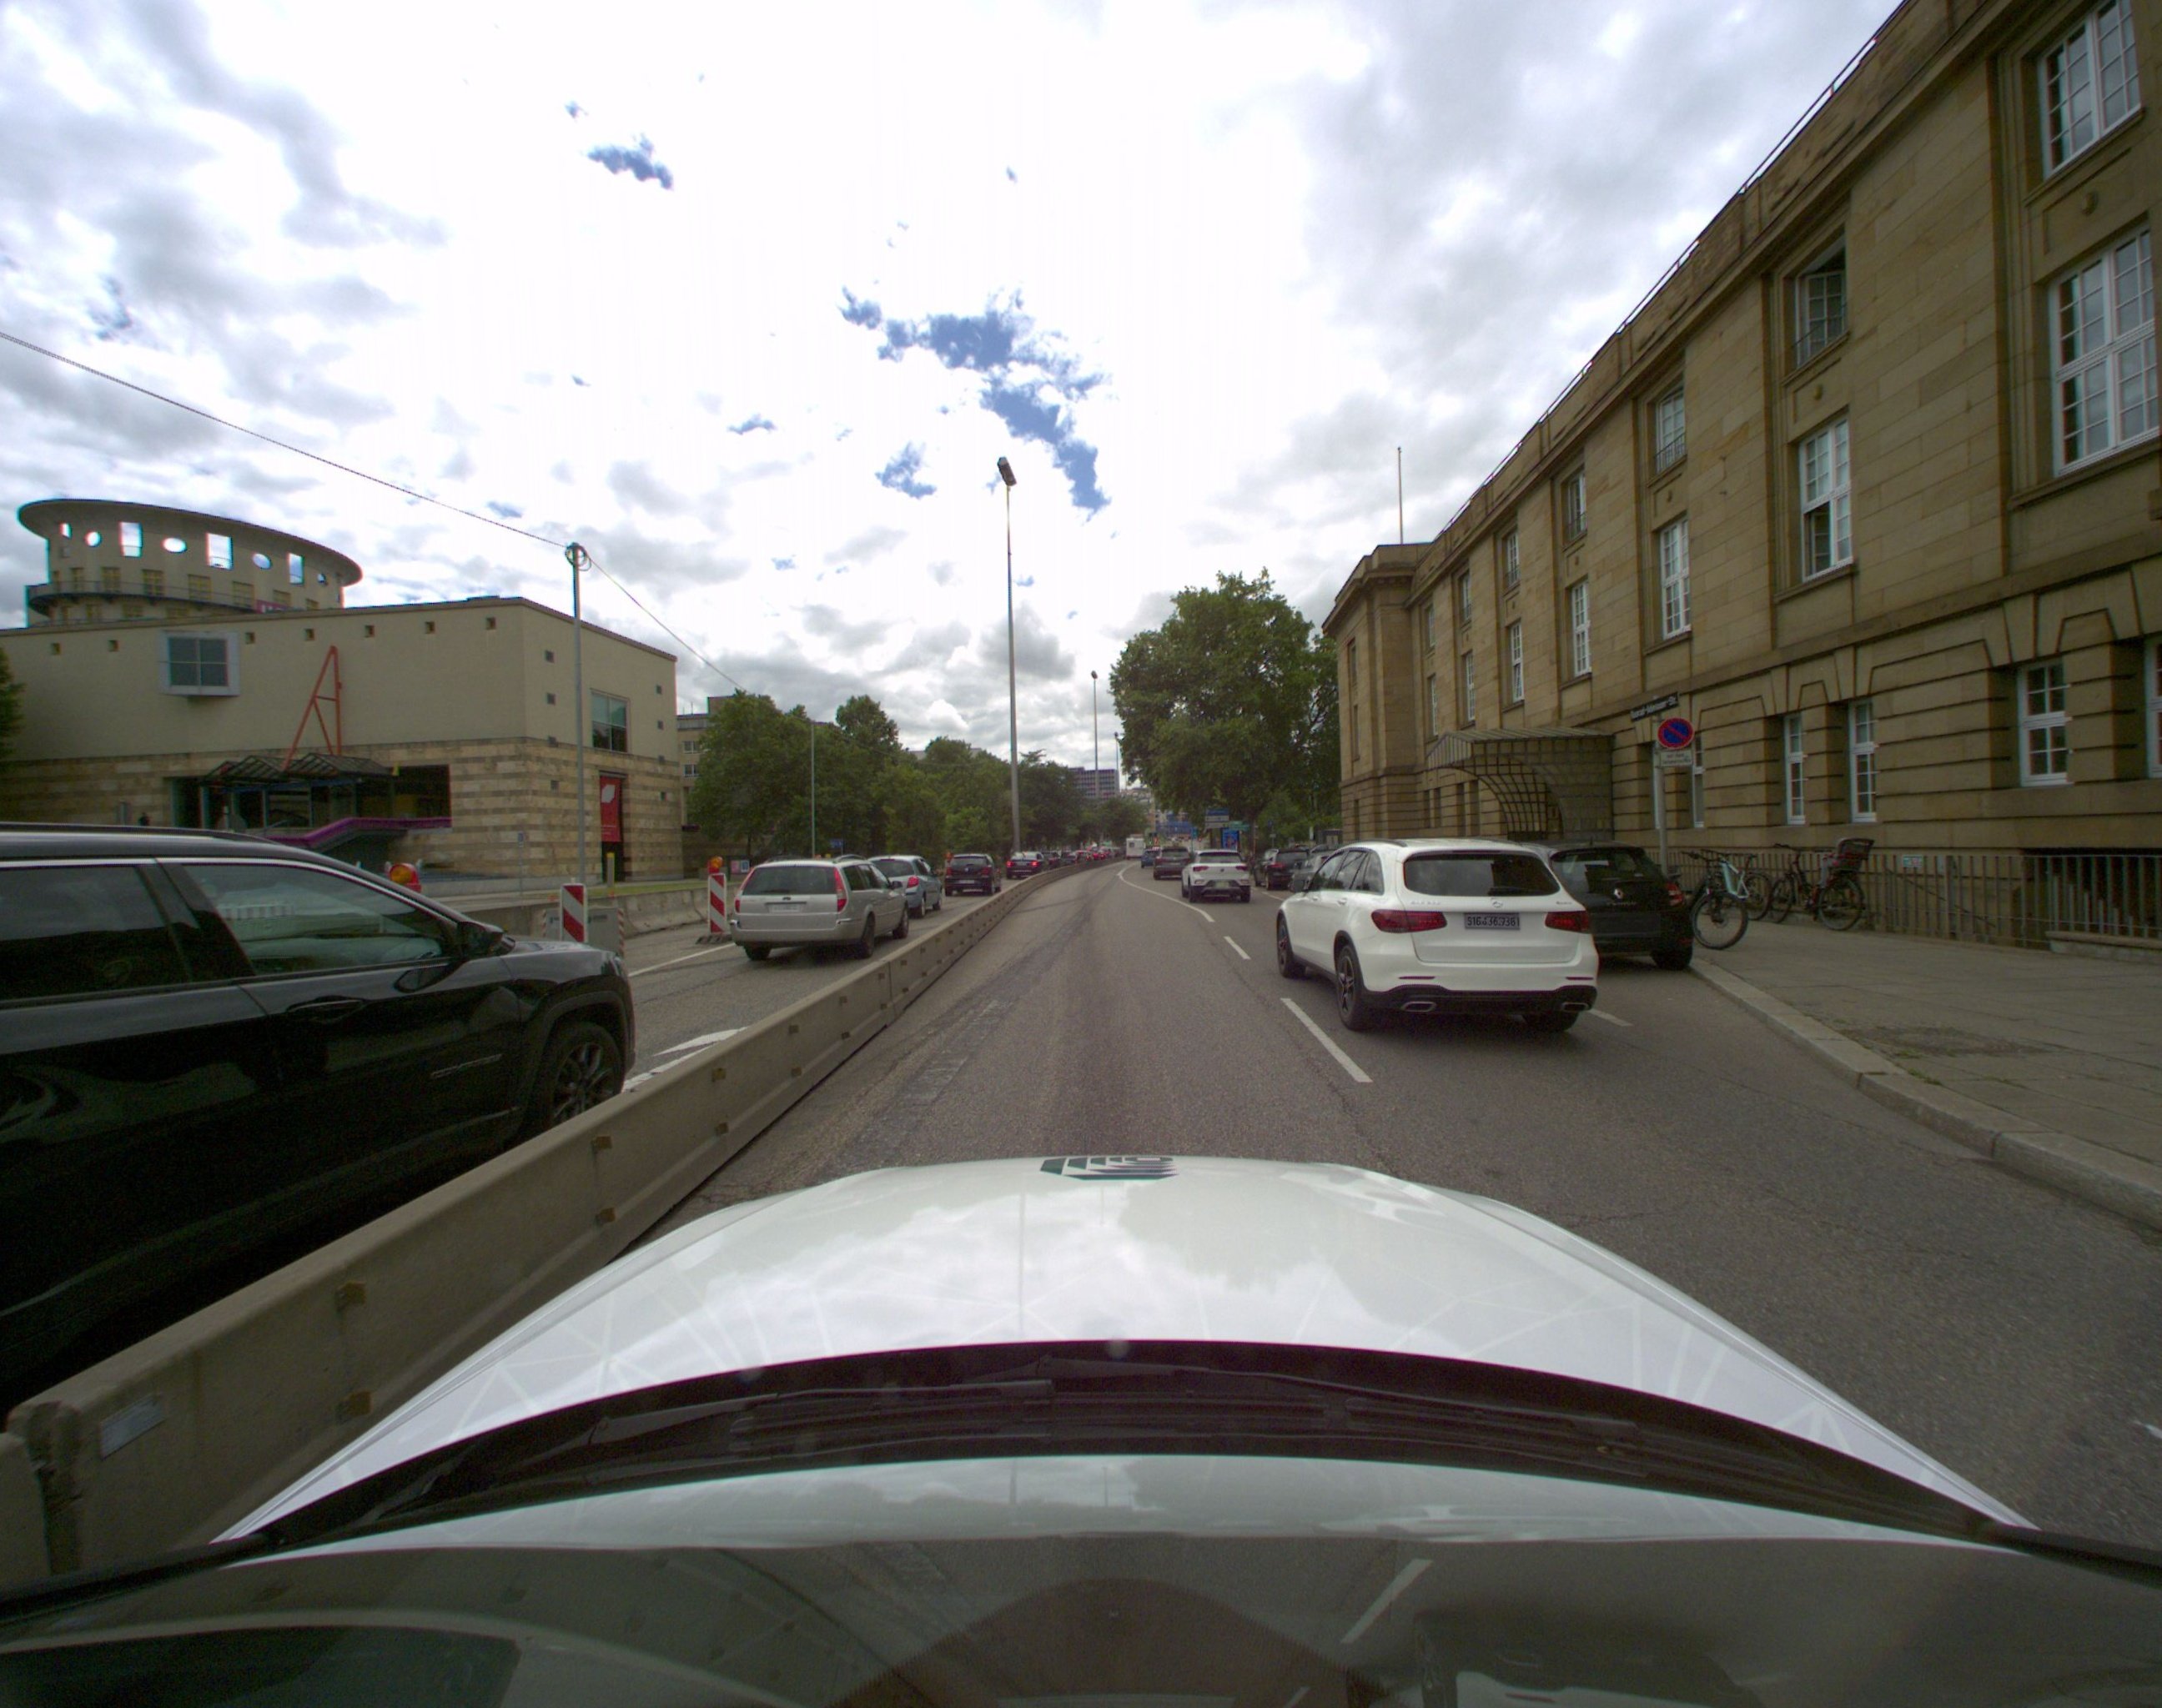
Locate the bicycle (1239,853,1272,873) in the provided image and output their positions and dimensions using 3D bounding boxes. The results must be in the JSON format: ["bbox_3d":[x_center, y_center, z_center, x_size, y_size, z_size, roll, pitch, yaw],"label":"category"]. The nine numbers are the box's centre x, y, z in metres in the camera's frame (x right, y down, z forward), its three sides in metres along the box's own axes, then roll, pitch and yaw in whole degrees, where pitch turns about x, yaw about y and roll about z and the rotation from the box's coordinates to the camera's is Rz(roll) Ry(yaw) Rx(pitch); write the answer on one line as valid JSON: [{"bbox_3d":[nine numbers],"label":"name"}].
[{"bbox_3d":[9.431,0.479,44.022,1.716,1.091,0.576,0,0,14],"label":"bicycle"}]

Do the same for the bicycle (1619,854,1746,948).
[{"bbox_3d":[8.092,0.582,11.058,0.457,1.156,1.833,-2,0,4],"label":"bicycle"}]

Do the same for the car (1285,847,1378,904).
[{"bbox_3d":[7.137,0.571,23.586,1.700,1.426,4.002,-3,0,5],"label":"car"}]

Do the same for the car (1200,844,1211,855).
[{"bbox_3d":[23.947,-0.882,156.197,1.983,2.013,4.008,-1,0,7],"label":"car"}]

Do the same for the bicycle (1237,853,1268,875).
[{"bbox_3d":[8.961,0.509,42.495,1.615,1.130,0.467,0,0,-21],"label":"bicycle"}]

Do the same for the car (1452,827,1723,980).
[{"bbox_3d":[6.310,0.526,10.668,1.537,1.552,3.717,-4,0,8],"label":"car"}]

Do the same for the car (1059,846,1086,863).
[{"bbox_3d":[-0.659,0.019,66.316,1.670,1.367,4.550,-2,0,6],"label":"car"}]

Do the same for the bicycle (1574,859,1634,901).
[{"bbox_3d":[11.144,0.537,17.411,0.304,0.844,1.882,0,0,7],"label":"bicycle"}]

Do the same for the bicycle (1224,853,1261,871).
[{"bbox_3d":[8.216,0.409,41.383,1.712,0.917,0.617,-1,0,24],"label":"bicycle"}]

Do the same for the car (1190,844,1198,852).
[{"bbox_3d":[25.064,-1.397,180.961,1.749,1.669,4.176,-1,0,6],"label":"car"}]

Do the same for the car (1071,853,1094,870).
[{"bbox_3d":[0.194,0.682,72.764,1.653,1.436,3.967,-1,0,6],"label":"car"}]

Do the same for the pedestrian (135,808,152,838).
[{"bbox_3d":[-62.389,-2.069,54.206,0.409,2.014,0.601,1,0,5],"label":"pedestrian"}]

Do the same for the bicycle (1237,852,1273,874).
[{"bbox_3d":[8.645,0.456,40.538,1.647,1.074,0.588,-1,0,25],"label":"bicycle"}]

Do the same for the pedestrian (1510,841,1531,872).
[{"bbox_3d":[12.407,0.079,22.995,0.427,0.873,0.374,0,-1,6],"label":"pedestrian"}]

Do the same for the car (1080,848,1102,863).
[{"bbox_3d":[1.002,0.123,81.393,1.767,1.420,4.007,-1,0,6],"label":"car"}]

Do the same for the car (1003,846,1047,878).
[{"bbox_3d":[-2.963,0.412,44.152,1.917,1.636,4.937,-1,0,1],"label":"car"}]

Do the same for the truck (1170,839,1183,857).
[{"bbox_3d":[21.826,-1.315,187.233,2.863,4.103,6.649,0,0,6],"label":"truck"}]

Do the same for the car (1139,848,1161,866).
[{"bbox_3d":[5.525,0.243,64.773,1.651,1.413,3.553,-1,0,6],"label":"car"}]

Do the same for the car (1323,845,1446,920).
[{"bbox_3d":[6.731,0.575,18.458,1.608,1.455,3.864,-3,0,5],"label":"car"}]

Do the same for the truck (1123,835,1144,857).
[{"bbox_3d":[7.277,-1.074,112.030,2.608,2.861,7.089,0,0,5],"label":"truck"}]

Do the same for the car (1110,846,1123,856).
[{"bbox_3d":[5.130,-0.399,117.139,1.650,1.319,3.555,-1,0,7],"label":"car"}]

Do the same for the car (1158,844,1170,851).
[{"bbox_3d":[14.604,-1.155,143.491,1.936,1.319,4.025,-1,0,7],"label":"car"}]

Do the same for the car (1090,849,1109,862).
[{"bbox_3d":[2.036,0.153,88.912,1.650,1.319,3.554,-1,0,6],"label":"car"}]

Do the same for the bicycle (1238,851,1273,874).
[{"bbox_3d":[9.324,0.452,43.571,1.750,1.209,0.605,0,0,2],"label":"bicycle"}]

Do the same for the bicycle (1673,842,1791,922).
[{"bbox_3d":[10.746,0.433,13.541,0.552,1.217,1.919,-2,0,5],"label":"bicycle"}]

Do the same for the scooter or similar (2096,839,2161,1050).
[{"bbox_3d":[6.613,0.542,4.475,0.378,1.261,1.405,-2,0,5],"label":"scooter or similar"}]

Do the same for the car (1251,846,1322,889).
[{"bbox_3d":[7.617,0.454,30.587,1.780,1.486,4.330,-1,0,3],"label":"car"}]

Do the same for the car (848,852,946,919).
[{"bbox_3d":[-4.472,0.707,20.358,1.668,1.507,3.851,-1,0,-2],"label":"car"}]

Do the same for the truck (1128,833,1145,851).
[{"bbox_3d":[9.745,-2.103,142.608,2.679,2.992,5.646,1,0,5],"label":"truck"}]

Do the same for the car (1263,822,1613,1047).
[{"bbox_3d":[3.124,0.595,8.223,1.780,1.625,4.441,-1,0,3],"label":"car"}]

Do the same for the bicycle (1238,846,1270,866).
[{"bbox_3d":[9.437,0.099,44.421,1.714,1.091,0.382,0,0,18],"label":"bicycle"}]

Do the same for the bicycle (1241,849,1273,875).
[{"bbox_3d":[8.877,0.392,41.070,1.528,1.256,0.546,0,0,24],"label":"bicycle"}]

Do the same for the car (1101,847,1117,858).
[{"bbox_3d":[3.603,-0.203,104.089,1.650,1.319,3.555,-1,0,7],"label":"car"}]

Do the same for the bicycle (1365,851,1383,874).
[{"bbox_3d":[13.159,0.380,36.625,0.239,0.997,1.966,-1,0,5],"label":"bicycle"}]

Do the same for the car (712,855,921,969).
[{"bbox_3d":[-3.982,0.775,13.196,1.873,1.481,4.703,-1,0,-1],"label":"car"}]

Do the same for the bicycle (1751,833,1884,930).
[{"bbox_3d":[10.536,0.360,11.731,0.410,1.288,1.793,-2,0,5],"label":"bicycle"}]

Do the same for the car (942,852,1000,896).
[{"bbox_3d":[-3.889,0.678,29.399,1.655,1.454,4.194,-1,0,-2],"label":"car"}]

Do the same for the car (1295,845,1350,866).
[{"bbox_3d":[18.721,0.121,63.237,3.816,1.568,1.682,-1,0,6],"label":"car"}]

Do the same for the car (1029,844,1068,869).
[{"bbox_3d":[-2.070,0.169,52.904,1.807,1.499,4.777,-1,0,6],"label":"car"}]

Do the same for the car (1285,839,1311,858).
[{"bbox_3d":[20.129,-0.560,75.708,1.751,1.551,4.035,-2,2,7],"label":"car"}]

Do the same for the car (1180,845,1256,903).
[{"bbox_3d":[4.092,0.559,24.921,1.789,1.608,3.756,-1,0,2],"label":"car"}]

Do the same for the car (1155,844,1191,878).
[{"bbox_3d":[4.624,0.352,41.253,1.652,1.639,3.551,-1,0,4],"label":"car"}]

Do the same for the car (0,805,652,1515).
[{"bbox_3d":[-3.348,0.710,2.576,1.770,1.621,4.047,-1,0,1],"label":"car"}]
